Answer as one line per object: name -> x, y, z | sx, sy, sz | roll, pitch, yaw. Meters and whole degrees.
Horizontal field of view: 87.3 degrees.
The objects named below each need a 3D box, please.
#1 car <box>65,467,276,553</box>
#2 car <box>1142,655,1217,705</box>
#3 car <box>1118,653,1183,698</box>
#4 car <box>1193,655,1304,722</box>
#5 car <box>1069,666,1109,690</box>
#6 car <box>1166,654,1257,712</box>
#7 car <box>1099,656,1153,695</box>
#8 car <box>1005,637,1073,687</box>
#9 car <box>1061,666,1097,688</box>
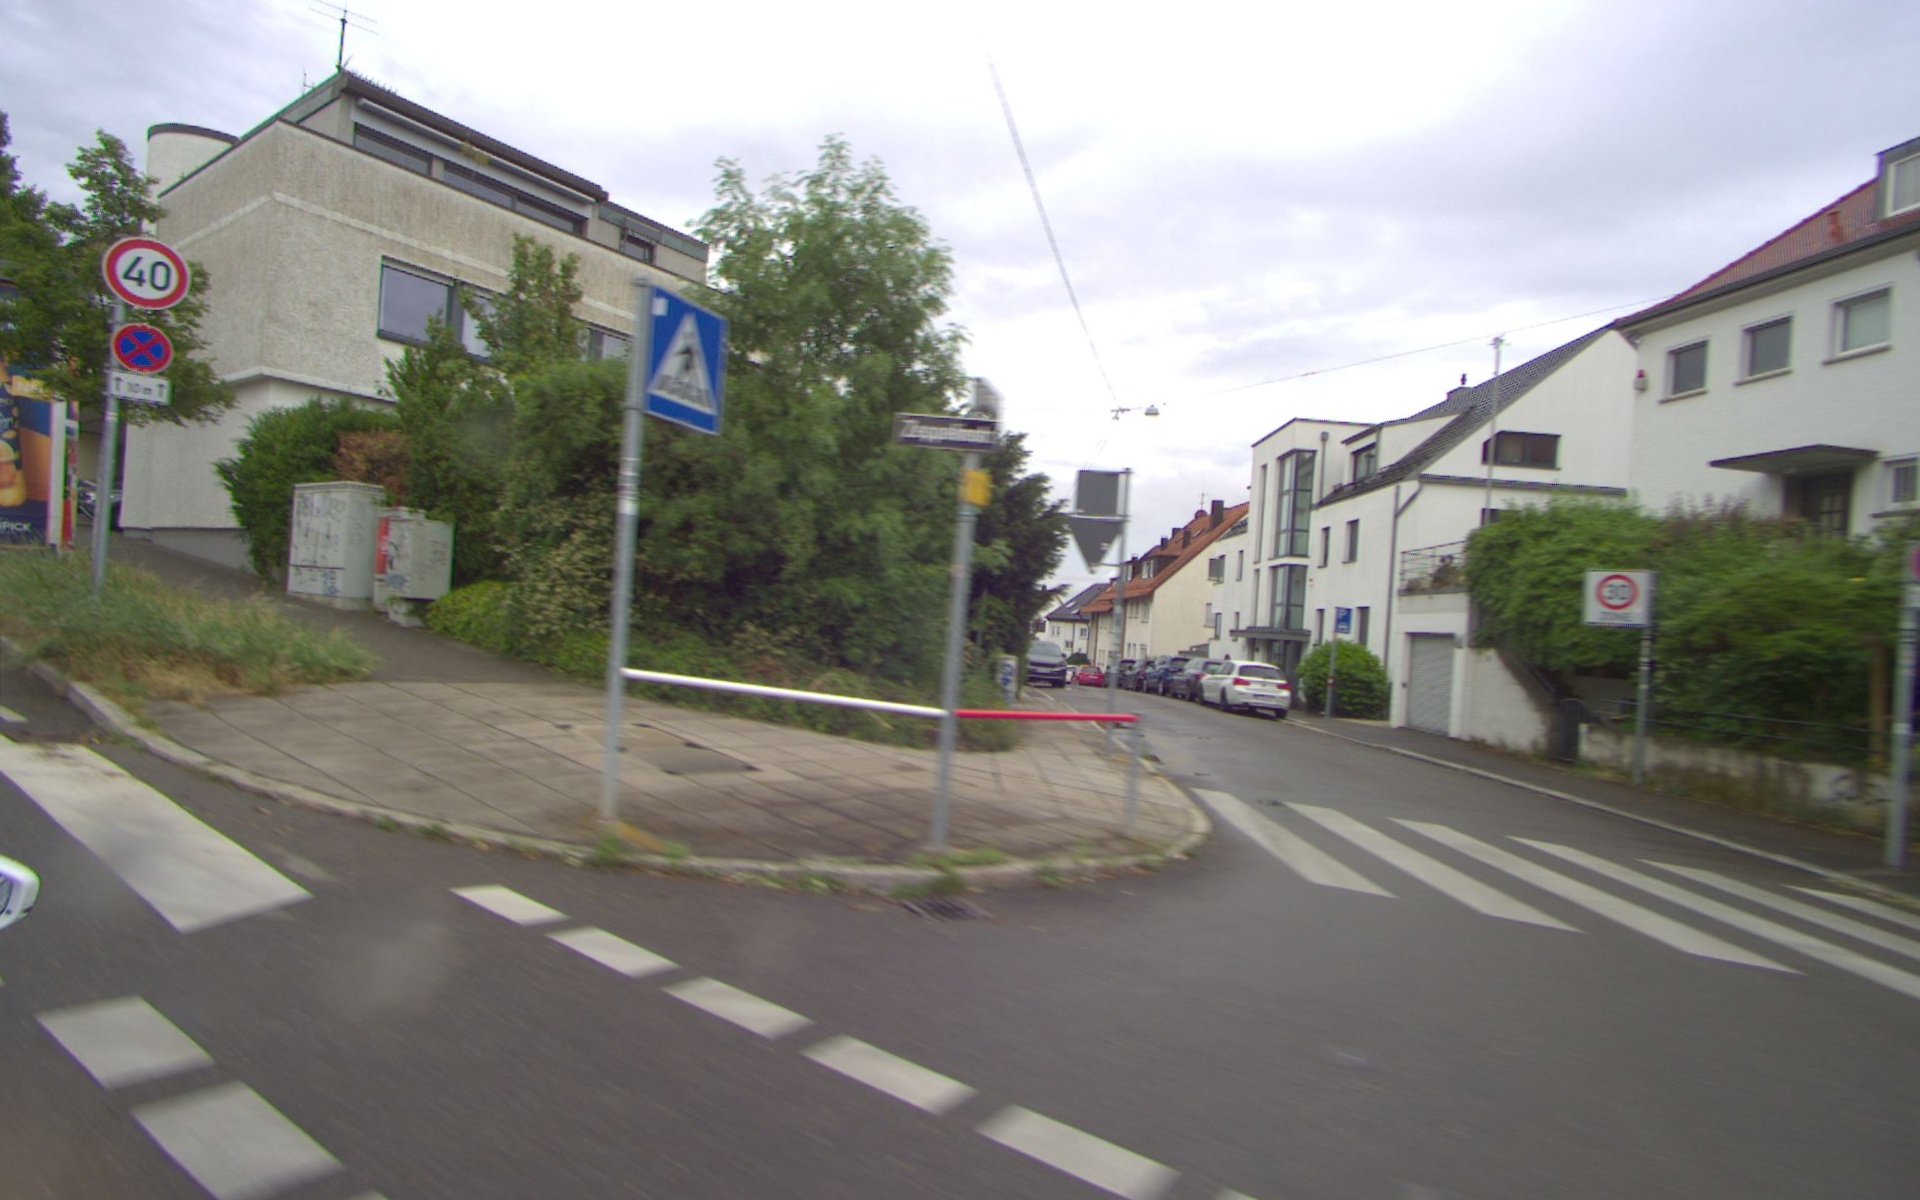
car -> -19.733, -2.208, 25.330 | 3.970, 1.432, 1.707 | 9, -1, -39
car -> 8.309, 3.000, 38.435 | 1.831, 1.502, 4.001 | 6, -1, 0
car -> 8.111, 3.204, 43.138 | 1.831, 1.502, 4.001 | 6, -1, 0
car -> 8.082, 2.442, 28.567 | 1.831, 1.450, 4.001 | 6, -1, 0
car -> 8.130, 4.893, 63.682 | 1.831, 1.246, 4.004 | 7, -3, 0
car -> 8.261, 2.694, 33.364 | 1.831, 1.502, 4.001 | 6, -1, 0
car -> 8.083, 3.666, 49.366 | 1.831, 1.502, 4.001 | 6, -1, 0
car -> 2.891, 2.337, 37.513 | 1.963, 1.613, 4.006 | 5, -4, -2
car -> 8.180, 5.270, 69.301 | 1.831, 1.246, 4.004 | 7, -3, 0
